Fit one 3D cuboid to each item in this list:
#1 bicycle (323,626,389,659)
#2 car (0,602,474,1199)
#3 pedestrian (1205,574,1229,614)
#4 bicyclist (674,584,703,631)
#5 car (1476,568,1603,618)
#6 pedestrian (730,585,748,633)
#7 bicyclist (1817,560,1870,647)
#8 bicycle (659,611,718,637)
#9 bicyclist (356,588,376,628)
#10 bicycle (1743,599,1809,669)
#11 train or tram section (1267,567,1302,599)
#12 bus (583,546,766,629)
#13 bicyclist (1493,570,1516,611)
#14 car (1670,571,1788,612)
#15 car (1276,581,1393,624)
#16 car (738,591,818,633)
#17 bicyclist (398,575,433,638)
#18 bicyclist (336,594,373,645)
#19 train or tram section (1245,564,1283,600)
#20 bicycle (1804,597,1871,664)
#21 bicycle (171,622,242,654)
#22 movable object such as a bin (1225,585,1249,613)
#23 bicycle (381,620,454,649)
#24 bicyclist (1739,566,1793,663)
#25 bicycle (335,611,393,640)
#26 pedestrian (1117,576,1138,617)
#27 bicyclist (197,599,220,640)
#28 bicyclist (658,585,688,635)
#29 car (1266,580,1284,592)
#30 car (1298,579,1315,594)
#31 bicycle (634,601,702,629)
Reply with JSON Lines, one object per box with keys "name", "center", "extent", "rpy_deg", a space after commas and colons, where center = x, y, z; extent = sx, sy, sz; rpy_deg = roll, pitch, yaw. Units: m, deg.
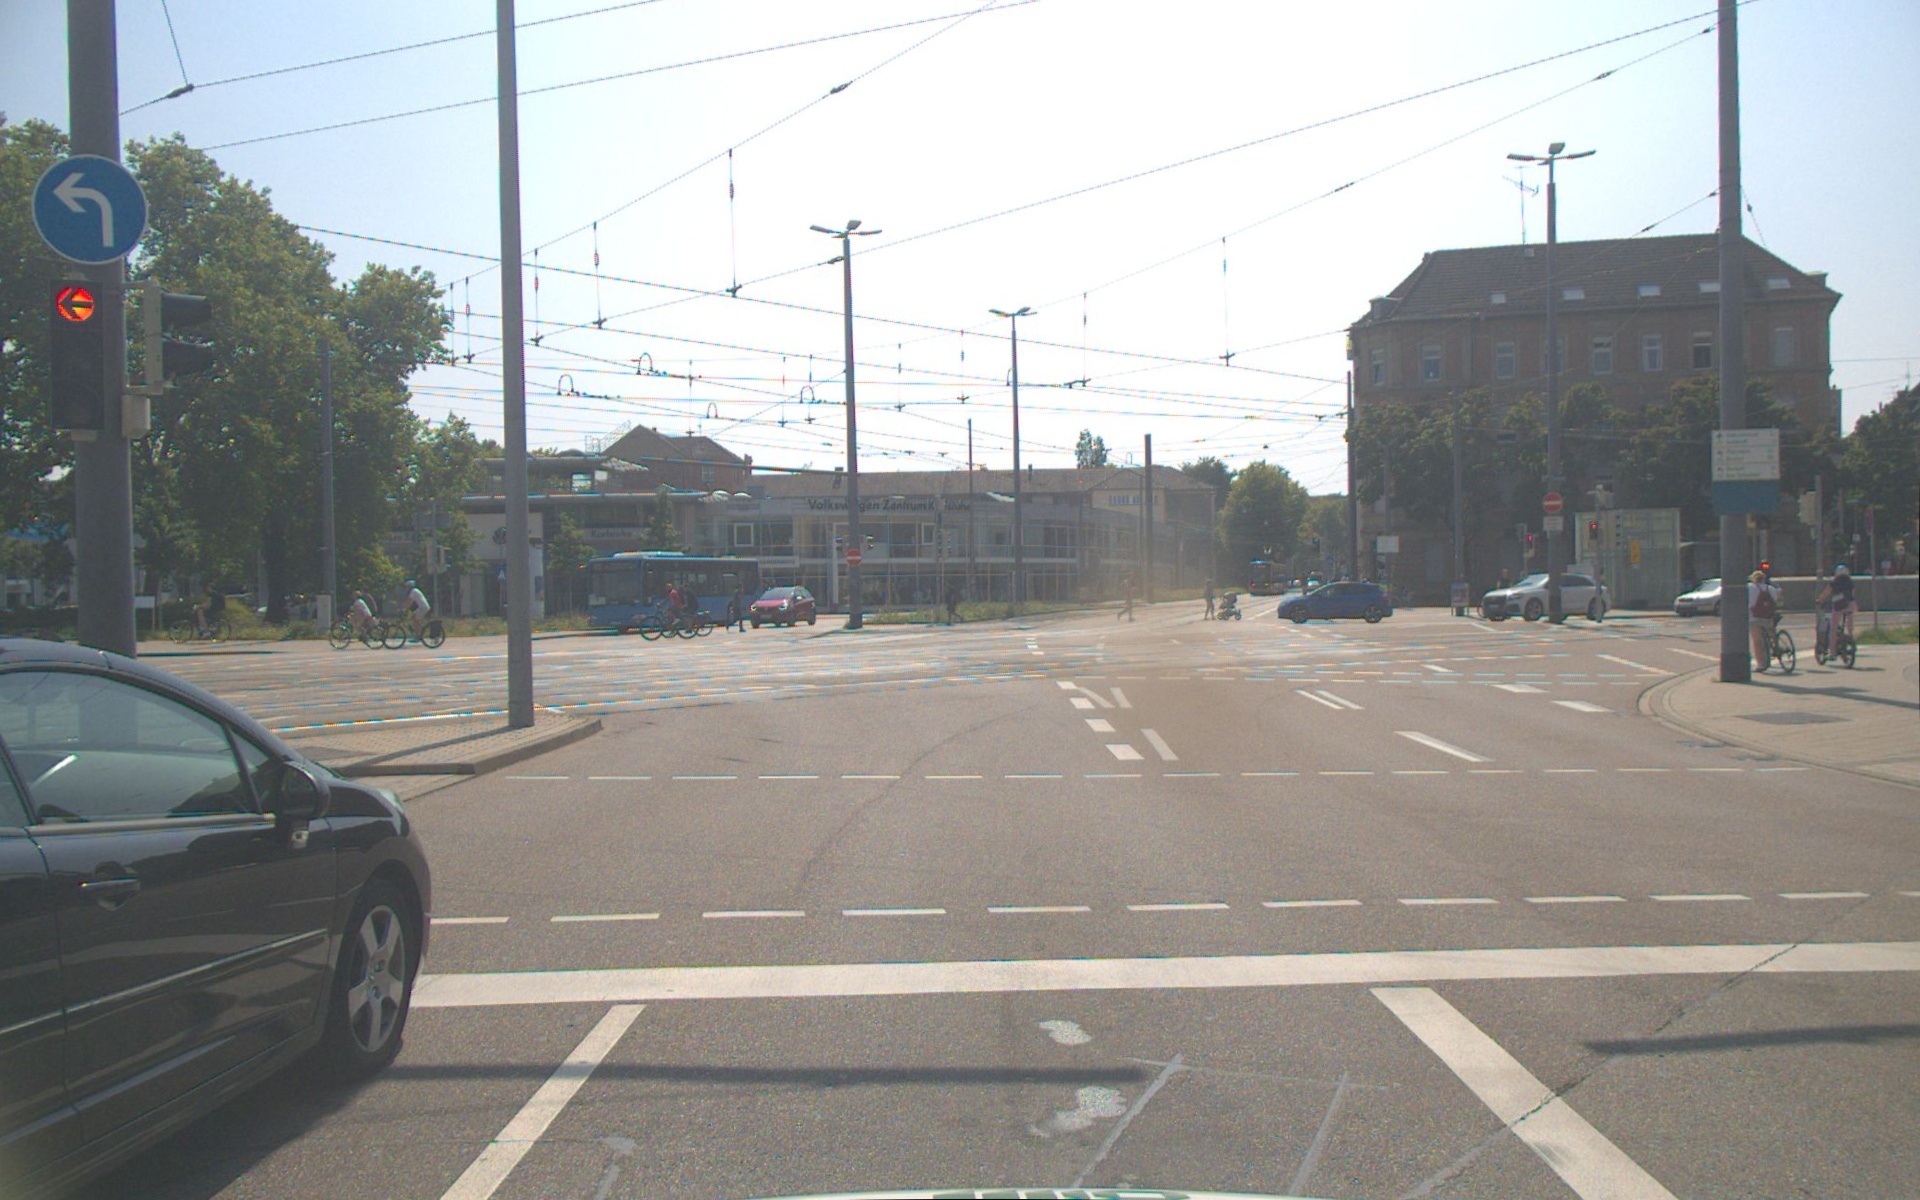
{"name": "bicycle", "center": [-18.430, 1.282, 50.461], "extent": [1.778, 0.958, 0.567], "rpy_deg": [-1, 0, -4]}
{"name": "car", "center": [-2.629, 0.734, 3.822], "extent": [1.729, 1.412, 3.782], "rpy_deg": [1, 0, 3]}
{"name": "pedestrian", "center": [10.276, -0.249, 66.162], "extent": [0.834, 1.572, 0.527], "rpy_deg": [-1, 0, -9]}
{"name": "bicyclist", "center": [-8.923, 0.237, 54.312], "extent": [0.858, 1.501, 0.543], "rpy_deg": [-1, 0, -19]}
{"name": "car", "center": [20.293, -0.265, 57.893], "extent": [4.269, 1.646, 1.740], "rpy_deg": [-1, 0, -26]}
{"name": "pedestrian", "center": [-7.928, 0.334, 59.390], "extent": [0.544, 1.713, 0.451], "rpy_deg": [-1, 0, -20]}
{"name": "bicyclist", "center": [14.624, 0.052, 27.391], "extent": [0.519, 1.417, 0.894], "rpy_deg": [-1, 0, 11]}
{"name": "bicycle", "center": [-8.917, 0.778, 54.312], "extent": [1.828, 0.816, 0.604], "rpy_deg": [-1, 0, -20]}
{"name": "bicyclist", "center": [-19.921, 0.267, 55.511], "extent": [0.535, 1.316, 0.557], "rpy_deg": [-1, 0, -12]}
{"name": "bicycle", "center": [13.097, 0.525, 26.578], "extent": [0.525, 1.073, 1.655], "rpy_deg": [-1, 0, 11]}
{"name": "train or tram section", "center": [37.894, -1.991, 192.736], "extent": [2.534, 3.578, 12.979], "rpy_deg": [-1, 0, 17]}
{"name": "bus", "center": [-11.594, -0.524, 68.894], "extent": [2.508, 3.136, 12.032], "rpy_deg": [-1, 0, 16]}
{"name": "bicyclist", "center": [20.833, -0.353, 63.292], "extent": [0.604, 1.555, 0.517], "rpy_deg": [-1, 0, -25]}
{"name": "car", "center": [28.513, -0.314, 61.288], "extent": [4.123, 1.440, 1.762], "rpy_deg": [-1, 0, -26]}
{"name": "car", "center": [13.090, 0.075, 57.981], "extent": [3.902, 1.418, 1.597], "rpy_deg": [-1, 0, 9]}
{"name": "car", "center": [-7.198, 0.469, 65.852], "extent": [1.713, 1.579, 4.002], "rpy_deg": [-1, 0, 17]}
{"name": "bicyclist", "center": [-16.160, 0.199, 49.110], "extent": [0.908, 1.839, 0.496], "rpy_deg": [-1, 0, -14]}
{"name": "bicyclist", "center": [-18.466, 0.581, 50.451], "extent": [0.892, 1.534, 0.558], "rpy_deg": [-1, 0, -4]}
{"name": "train or tram section", "center": [31.733, -1.870, 172.074], "extent": [2.534, 3.578, 10.904], "rpy_deg": [-1, 0, 17]}
{"name": "bicycle", "center": [14.700, 0.498, 27.745], "extent": [0.525, 1.073, 1.655], "rpy_deg": [-1, 0, 11]}
{"name": "bicycle", "center": [-24.318, 1.216, 53.394], "extent": [1.998, 0.958, 0.466], "rpy_deg": [-1, 0, -14]}
{"name": "movable object such as a bin", "center": [11.091, -0.040, 66.280], "extent": [0.798, 1.096, 0.510], "rpy_deg": [-1, 0, -12]}
{"name": "bicycle", "center": [-16.115, 1.020, 49.132], "extent": [2.014, 0.816, 0.478], "rpy_deg": [-1, 0, -14]}
{"name": "bicyclist", "center": [13.094, 0.226, 26.887], "extent": [0.614, 1.544, 0.712], "rpy_deg": [-1, 0, 11]}
{"name": "bicycle", "center": [-20.032, 0.854, 55.593], "extent": [1.783, 0.958, 0.414], "rpy_deg": [-1, 0, -14]}
{"name": "pedestrian", "center": [6.621, -0.143, 65.342], "extent": [0.687, 1.631, 0.572], "rpy_deg": [-1, 0, -9]}
{"name": "bicyclist", "center": [-24.248, 0.623, 53.358], "extent": [0.535, 1.316, 0.557], "rpy_deg": [-1, 0, -12]}
{"name": "bicyclist", "center": [-8.745, 0.308, 50.390], "extent": [0.856, 1.509, 0.496], "rpy_deg": [-1, 0, -13]}
{"name": "car", "center": [41.381, -1.793, 217.227], "extent": [1.760, 1.534, 4.002], "rpy_deg": [-1, 0, 19]}
{"name": "car", "center": [45.244, -1.712, 216.069], "extent": [1.781, 1.841, 4.002], "rpy_deg": [1, 0, 16]}
{"name": "bicycle", "center": [-8.904, 0.447, 50.378], "extent": [2.014, 0.816, 0.478], "rpy_deg": [-1, 0, -14]}
